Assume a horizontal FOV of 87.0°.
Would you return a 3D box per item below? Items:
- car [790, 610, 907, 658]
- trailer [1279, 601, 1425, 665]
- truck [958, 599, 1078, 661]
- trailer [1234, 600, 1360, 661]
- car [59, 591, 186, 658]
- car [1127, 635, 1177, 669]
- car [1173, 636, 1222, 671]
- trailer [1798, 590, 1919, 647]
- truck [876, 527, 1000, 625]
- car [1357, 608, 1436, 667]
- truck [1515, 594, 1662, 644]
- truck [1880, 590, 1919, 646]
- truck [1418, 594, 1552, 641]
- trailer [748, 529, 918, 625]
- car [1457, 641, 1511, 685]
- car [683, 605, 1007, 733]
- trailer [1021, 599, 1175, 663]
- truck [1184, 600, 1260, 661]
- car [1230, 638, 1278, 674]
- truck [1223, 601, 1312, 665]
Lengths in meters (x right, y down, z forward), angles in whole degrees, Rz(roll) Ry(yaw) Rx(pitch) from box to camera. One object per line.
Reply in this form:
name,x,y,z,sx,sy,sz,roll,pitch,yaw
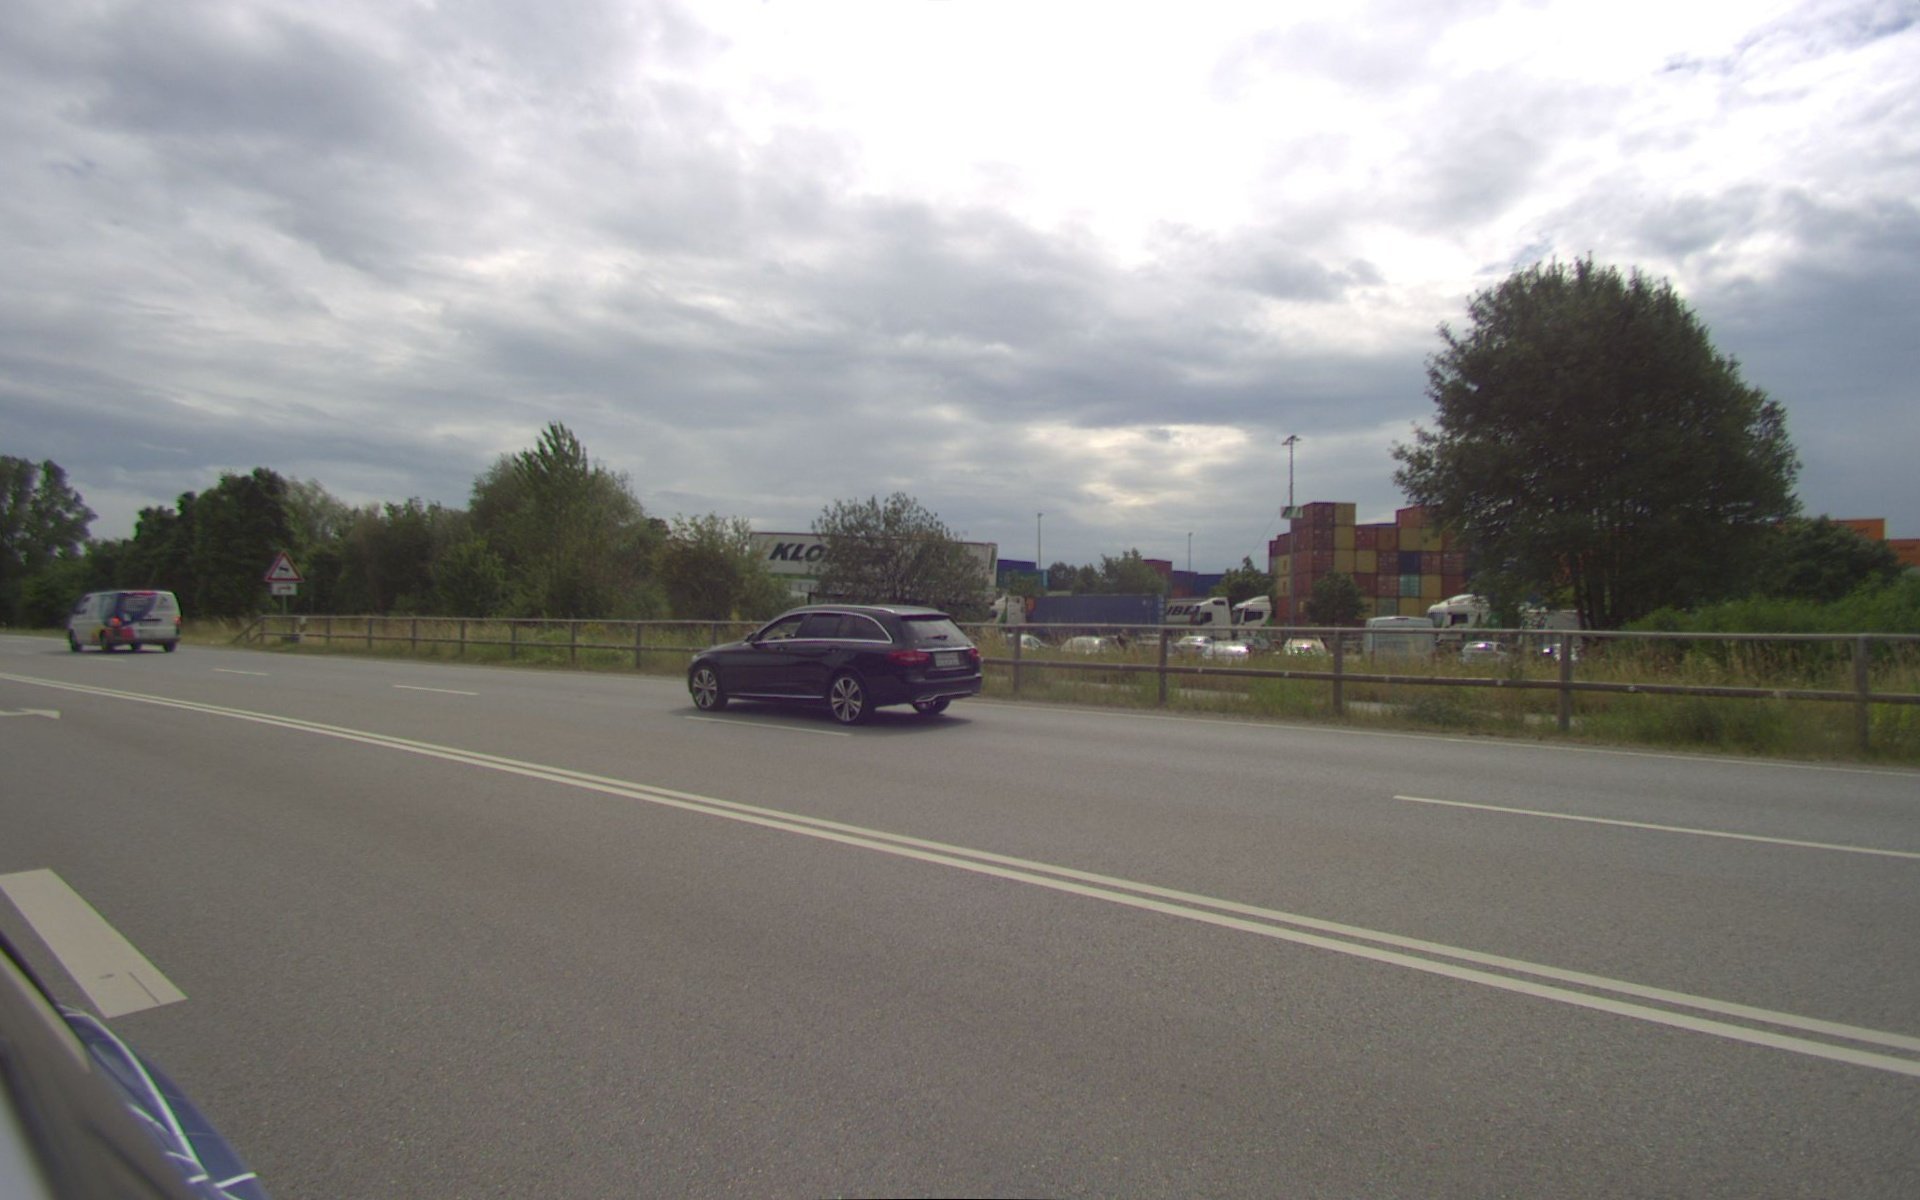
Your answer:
car,-4.702,1.388,42.697,4.467,1.890,2.006,0,-1,-27
trailer,26.994,2.232,69.868,9.239,4.325,2.200,0,-1,-3
truck,4.243,2.173,74.505,8.277,4.325,3.213,-1,-1,27
trailer,24.412,2.207,73.487,8.374,4.325,2.200,0,-1,-3
car,-27.360,0.783,33.017,4.654,2.029,1.977,-1,-1,34
car,10.923,2.916,57.372,1.834,1.732,3.965,-1,-1,26
car,13.124,2.930,55.722,1.834,1.732,3.965,-1,-1,26
trailer,44.969,0.909,50.225,5.060,2.680,1.975,-1,-1,37
truck,-1.138,-1.221,54.133,6.128,5.034,2.793,0,0,13
car,14.481,1.182,33.794,1.984,1.747,4.557,-1,0,18
truck,35.474,1.078,57.269,6.562,2.703,2.653,0,-1,0
truck,46.954,0.847,48.726,3.725,2.698,1.975,-1,-1,37
truck,31.437,1.040,60.764,6.566,2.703,2.651,0,-1,2
trailer,-6.932,-1.166,55.515,8.894,5.034,2.796,0,0,13
car,23.658,2.802,45.642,1.838,1.732,3.956,-1,-1,32
car,-1.655,0.819,13.600,4.347,1.452,1.791,-1,-1,38
trailer,9.710,2.165,71.686,10.352,4.325,3.213,-1,-1,27
truck,18.898,2.207,73.173,4.782,4.325,2.200,0,-1,-3
car,15.676,2.949,53.826,1.834,1.732,3.965,-1,-1,26
truck,21.096,2.231,69.548,5.349,4.325,2.200,0,-1,-3
